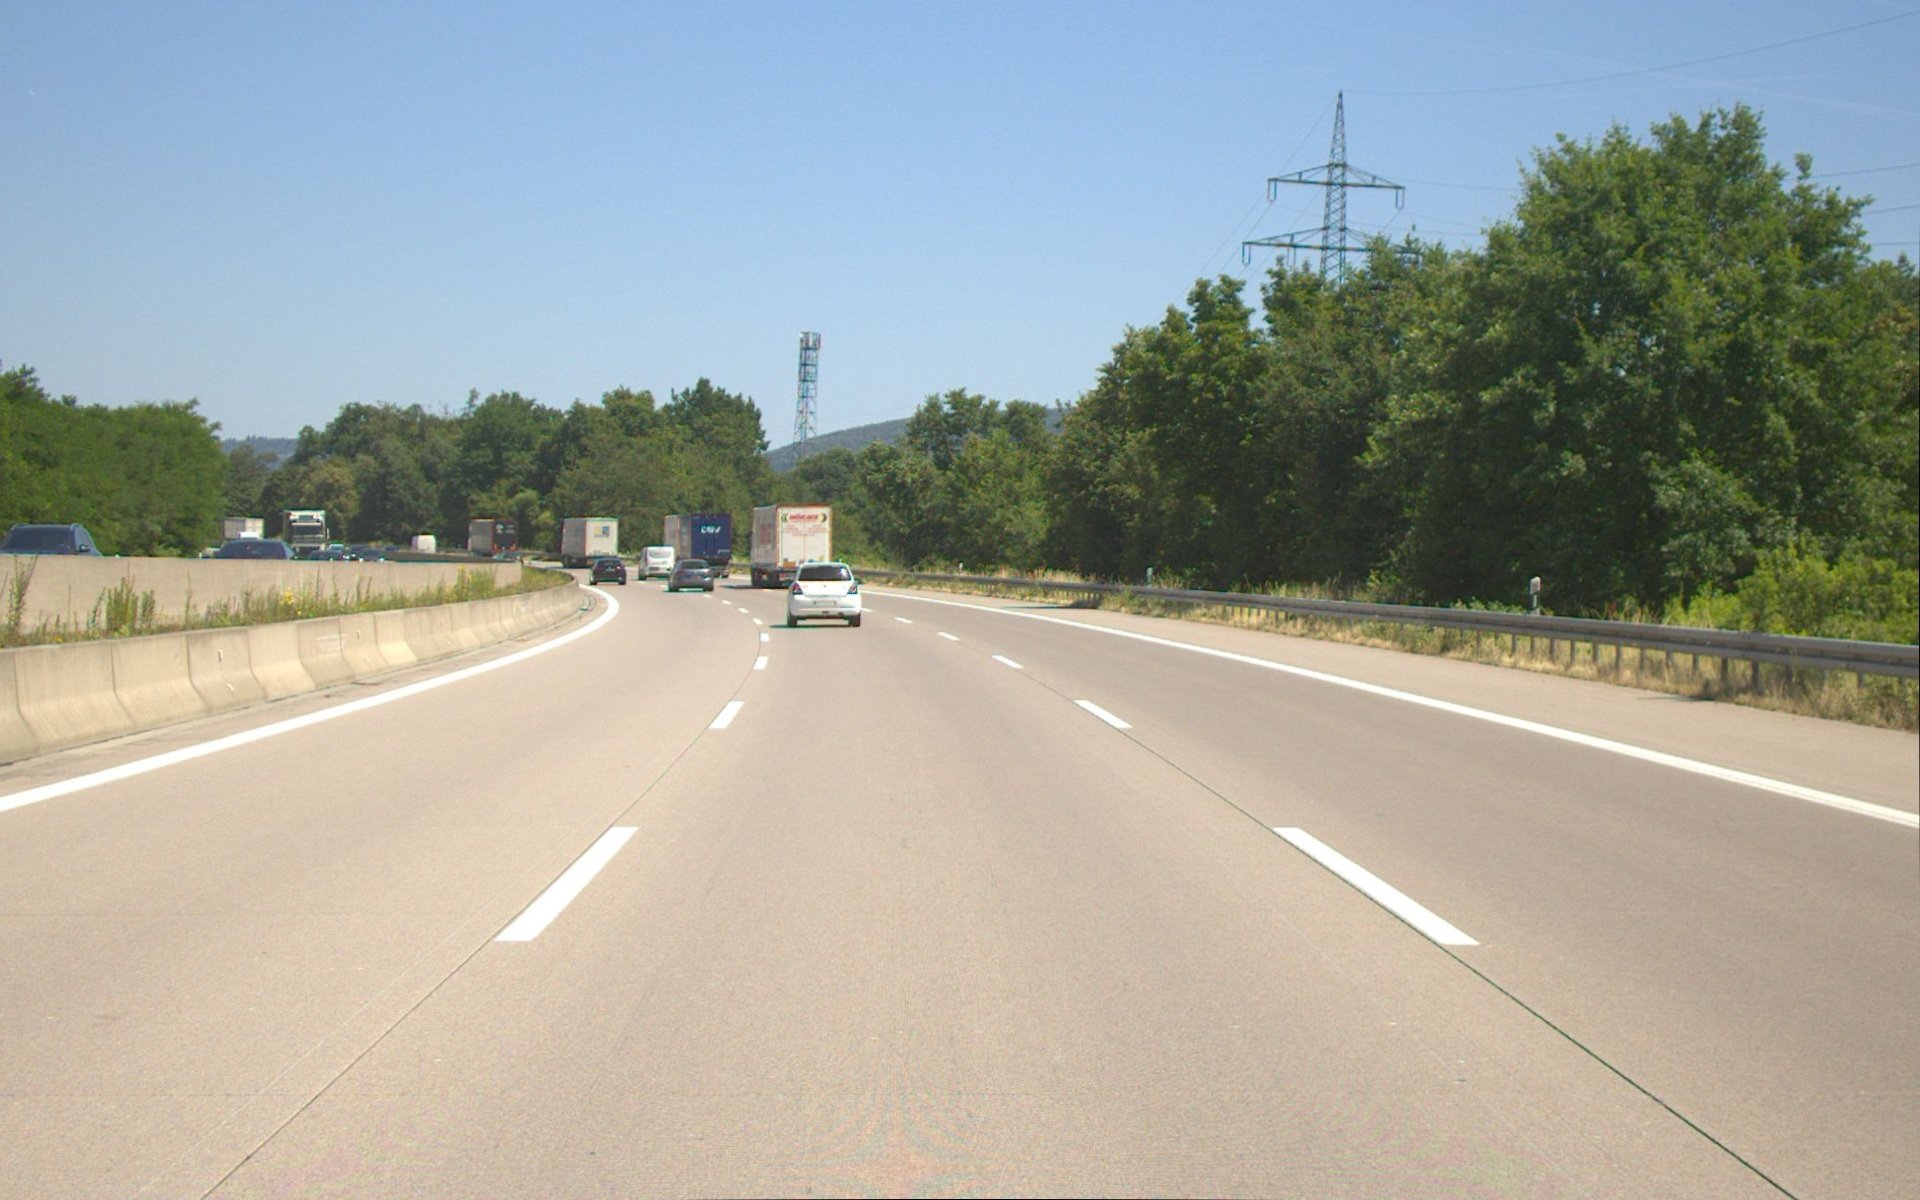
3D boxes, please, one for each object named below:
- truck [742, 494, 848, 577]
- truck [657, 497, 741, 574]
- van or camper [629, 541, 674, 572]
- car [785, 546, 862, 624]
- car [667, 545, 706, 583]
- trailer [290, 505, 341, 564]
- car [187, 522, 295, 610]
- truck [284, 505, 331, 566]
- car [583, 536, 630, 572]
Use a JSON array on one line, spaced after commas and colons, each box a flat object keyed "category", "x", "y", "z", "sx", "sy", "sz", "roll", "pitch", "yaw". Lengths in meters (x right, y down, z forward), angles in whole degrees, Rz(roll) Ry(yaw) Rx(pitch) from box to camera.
[{"category": "truck", "x": -8.201, "y": -3.136, "z": 168.599, "sx": 3.819, "sy": 3.876, "sz": 14.156, "roll": 0, "pitch": 1, "yaw": -8}, {"category": "truck", "x": -16.831, "y": -4.106, "z": 220.759, "sx": 3.906, "sy": 4.725, "sz": 14.054, "roll": 0, "pitch": 1, "yaw": -10}, {"category": "van or camper", "x": -18.455, "y": -2.613, "z": 205.236, "sx": 1.867, "sy": 1.831, "sz": 4.001, "roll": 0, "pitch": 1, "yaw": -17}, {"category": "car", "x": -3.225, "y": -0.368, "z": 81.085, "sx": 1.641, "sy": 1.656, "sz": 3.360, "roll": 4, "pitch": 1, "yaw": -2}, {"category": "car", "x": -12.455, "y": -1.633, "z": 156.442, "sx": 1.610, "sy": 1.719, "sz": 3.574, "roll": 0, "pitch": 1, "yaw": -7}, {"category": "trailer", "x": -43.764, "y": -4.416, "z": 233.722, "sx": 2.681, "sy": 3.922, "sz": 13.249, "roll": 0, "pitch": 1, "yaw": -7}, {"category": "car", "x": -16.146, "y": -0.774, "z": 77.322, "sx": 1.659, "sy": 1.915, "sz": 4.007, "roll": 1, "pitch": 1, "yaw": -2}, {"category": "truck", "x": -42.962, "y": -4.251, "z": 226.474, "sx": 2.664, "sy": 3.922, "sz": 5.971, "roll": 0, "pitch": 1, "yaw": -7}, {"category": "car", "x": -18.955, "y": -2.473, "z": 184.155, "sx": 2.021, "sy": 1.695, "sz": 4.001, "roll": 5, "pitch": 1, "yaw": -11}]
